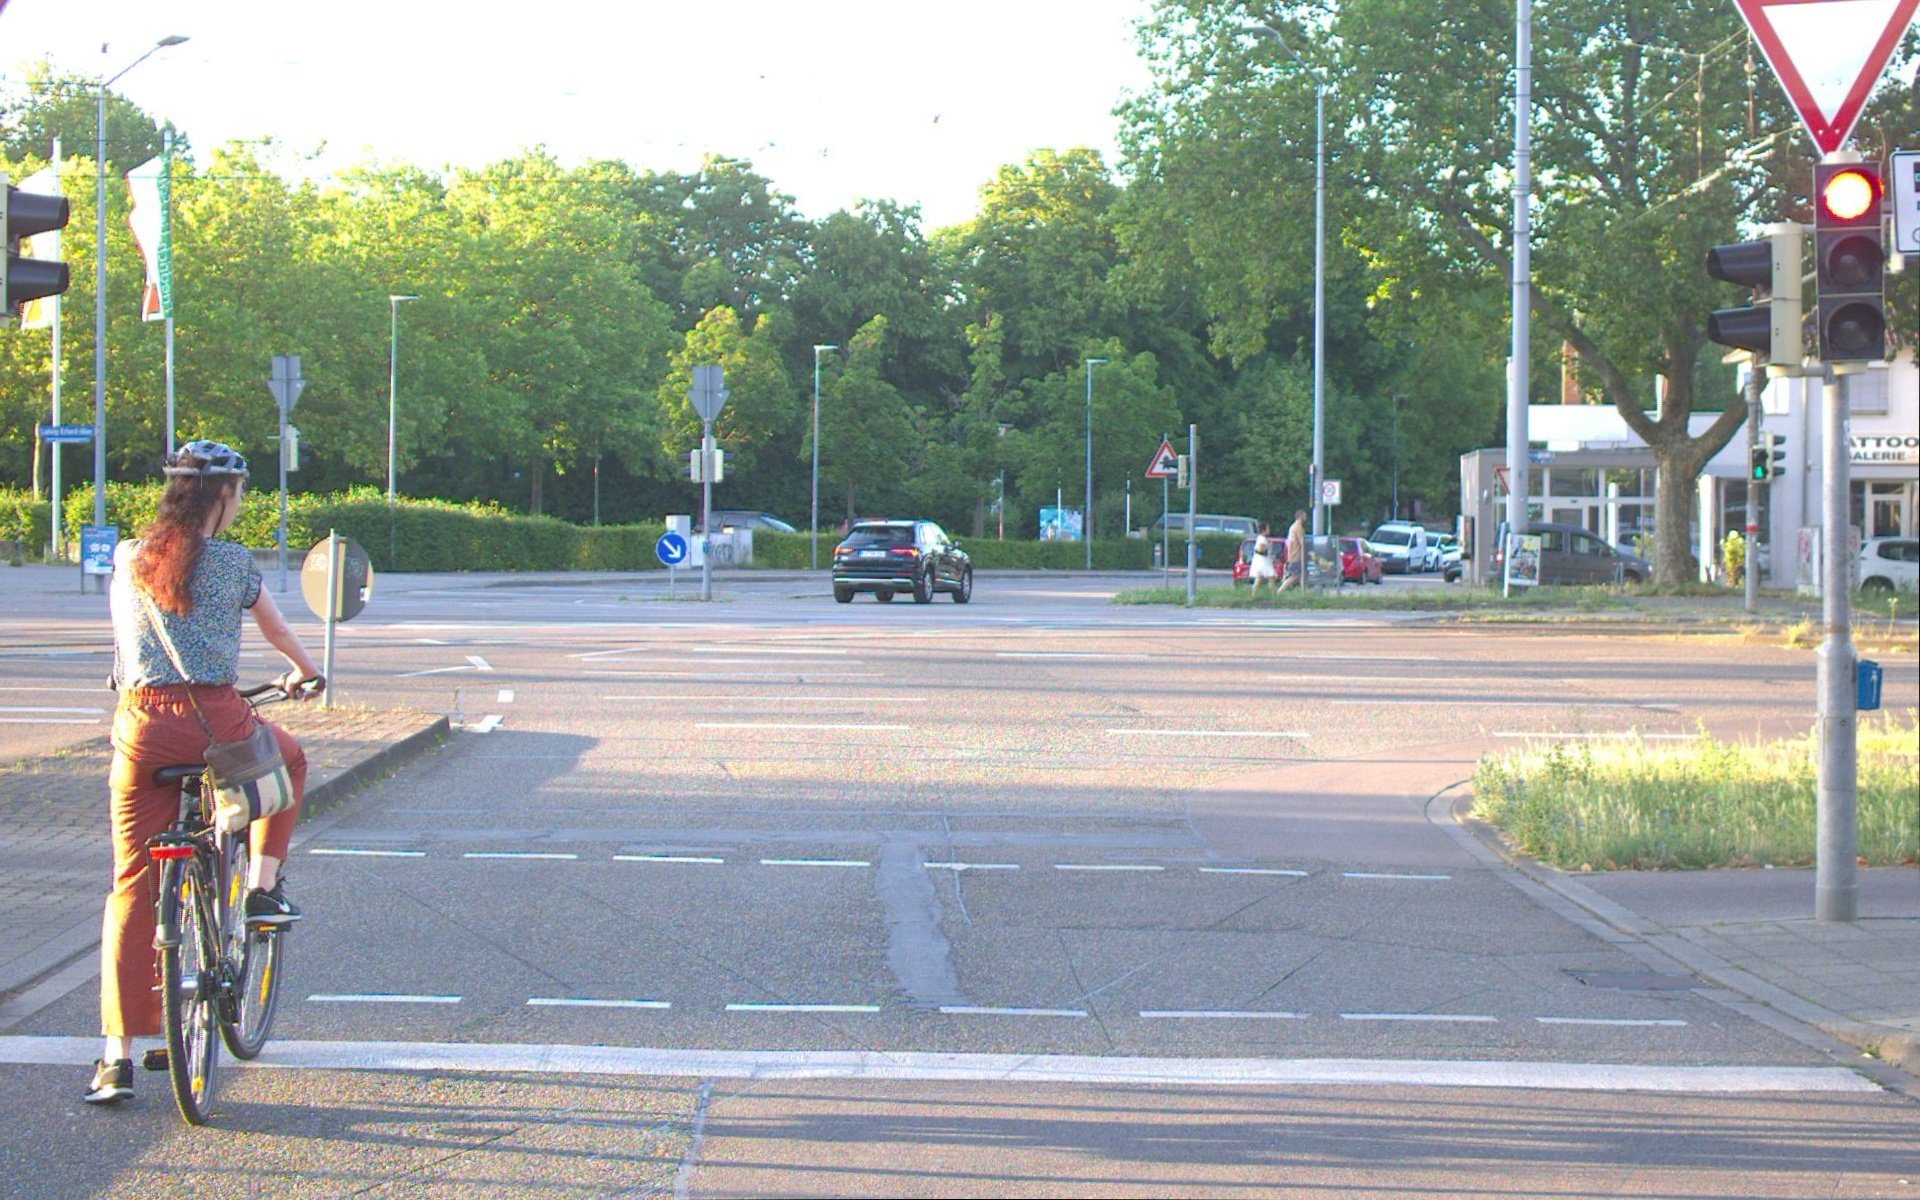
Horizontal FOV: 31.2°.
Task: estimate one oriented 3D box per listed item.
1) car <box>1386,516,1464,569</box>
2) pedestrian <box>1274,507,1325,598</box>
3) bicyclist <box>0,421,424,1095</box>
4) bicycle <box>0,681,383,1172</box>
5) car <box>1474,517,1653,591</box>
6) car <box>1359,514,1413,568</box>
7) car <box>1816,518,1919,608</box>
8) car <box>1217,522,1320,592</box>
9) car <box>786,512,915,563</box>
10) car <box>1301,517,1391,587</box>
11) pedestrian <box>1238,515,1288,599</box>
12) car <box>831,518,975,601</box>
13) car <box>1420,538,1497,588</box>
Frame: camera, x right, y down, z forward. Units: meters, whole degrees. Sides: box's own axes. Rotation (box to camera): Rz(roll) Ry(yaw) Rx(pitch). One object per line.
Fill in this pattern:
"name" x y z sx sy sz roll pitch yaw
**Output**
"car" 18.382 -2.285 135.768 1.996 2.007 3.995 1 2 24
"pedestrian" 6.668 -0.936 67.506 0.719 1.748 0.896 1 1 24
"bicyclist" -2.041 0.394 9.267 1.031 1.712 0.996 1 1 -1
"bicycle" -2.042 0.805 9.261 0.634 1.064 2.122 1 1 -1
"car" 15.592 -1.201 88.963 4.378 1.828 1.948 1 1 5
"car" 16.248 -2.268 131.172 1.994 2.007 3.999 1 1 7
"car" 20.405 -0.778 72.498 4.230 1.840 2.000 1 1 2
"car" 8.603 -1.215 95.701 1.870 1.868 3.870 1 2 21
"car" -3.478 -1.990 109.513 3.987 1.555 2.000 1 1 1
"car" 11.617 -1.460 103.313 1.916 2.040 3.997 1 2 17
"pedestrian" 5.997 -0.860 68.111 0.719 1.633 0.896 1 1 24
"car" -1.061 -0.754 66.333 1.756 1.535 4.398 1 0 13
"car" 16.760 -1.269 115.431 1.916 1.597 3.997 1 2 17
